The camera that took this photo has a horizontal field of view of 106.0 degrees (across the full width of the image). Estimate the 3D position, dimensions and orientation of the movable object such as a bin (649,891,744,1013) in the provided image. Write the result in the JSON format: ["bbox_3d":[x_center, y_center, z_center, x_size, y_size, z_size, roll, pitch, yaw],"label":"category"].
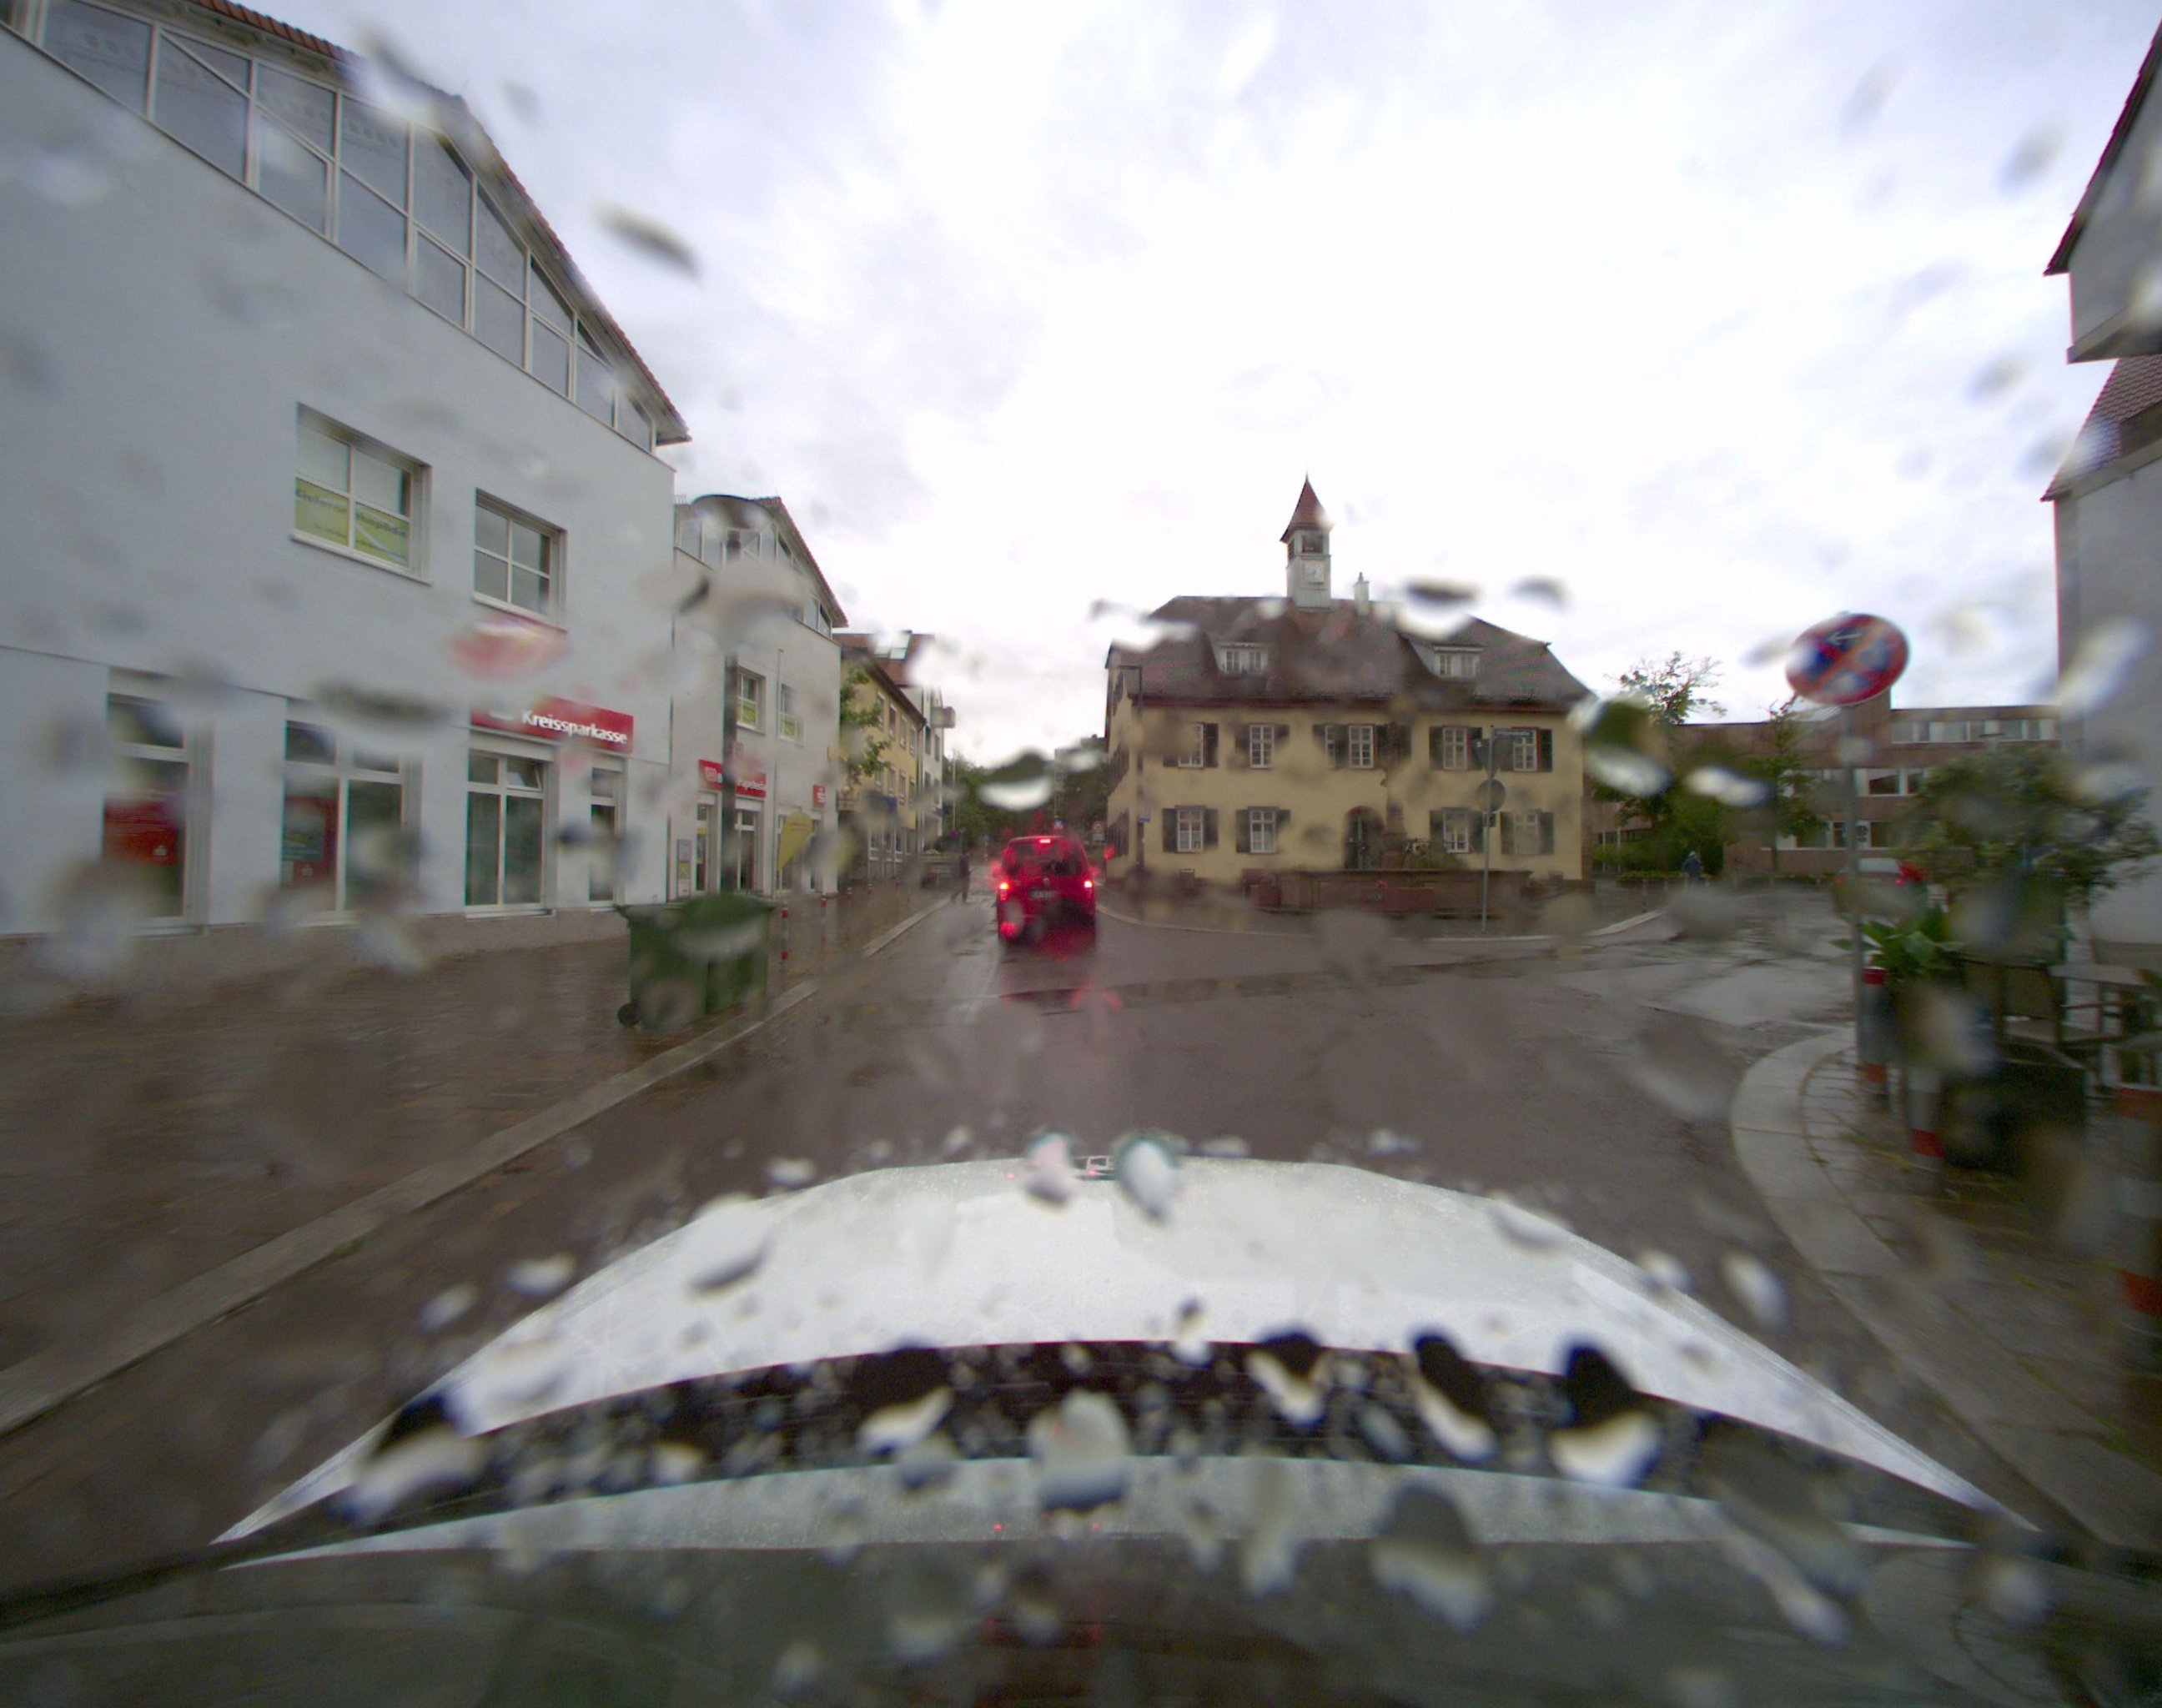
[{"bbox_3d":[-3.738,0.935,7.951,0.656,1.115,0.552,-1,-1,1],"label":"movable object such as a bin"}]

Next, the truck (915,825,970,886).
[{"bbox_3d":[-6.809,0.021,40.629,2.472,2.795,6.582,0,1,-8],"label":"truck"}]

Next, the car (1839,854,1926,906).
[{"bbox_3d":[22.900,0.701,23.230,3.627,1.363,1.652,0,-1,-44],"label":"car"}]

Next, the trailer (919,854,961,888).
[{"bbox_3d":[-6.154,0.708,35.817,1.727,1.346,3.152,0,1,-8],"label":"trailer"}]

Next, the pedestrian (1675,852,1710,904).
[{"bbox_3d":[22.132,0.859,29.489,0.688,1.822,0.785,0,-1,-30],"label":"pedestrian"}]

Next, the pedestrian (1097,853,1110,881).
[{"bbox_3d":[1.316,0.744,47.185,0.726,1.617,0.693,-1,-1,-1],"label":"pedestrian"}]

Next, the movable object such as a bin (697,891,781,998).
[{"bbox_3d":[-3.739,0.975,8.948,0.656,1.096,0.613,-1,-1,-1],"label":"movable object such as a bin"}]

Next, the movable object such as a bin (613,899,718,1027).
[{"bbox_3d":[-3.740,0.964,7.367,0.656,1.082,0.552,-1,-1,1],"label":"movable object such as a bin"}]

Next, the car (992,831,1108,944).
[{"bbox_3d":[-0.726,0.552,15.552,1.860,1.830,4.175,-1,0,-7],"label":"car"}]

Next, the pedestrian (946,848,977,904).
[{"bbox_3d":[-3.645,0.650,24.853,0.863,1.693,0.716,0,0,-2],"label":"pedestrian"}]
